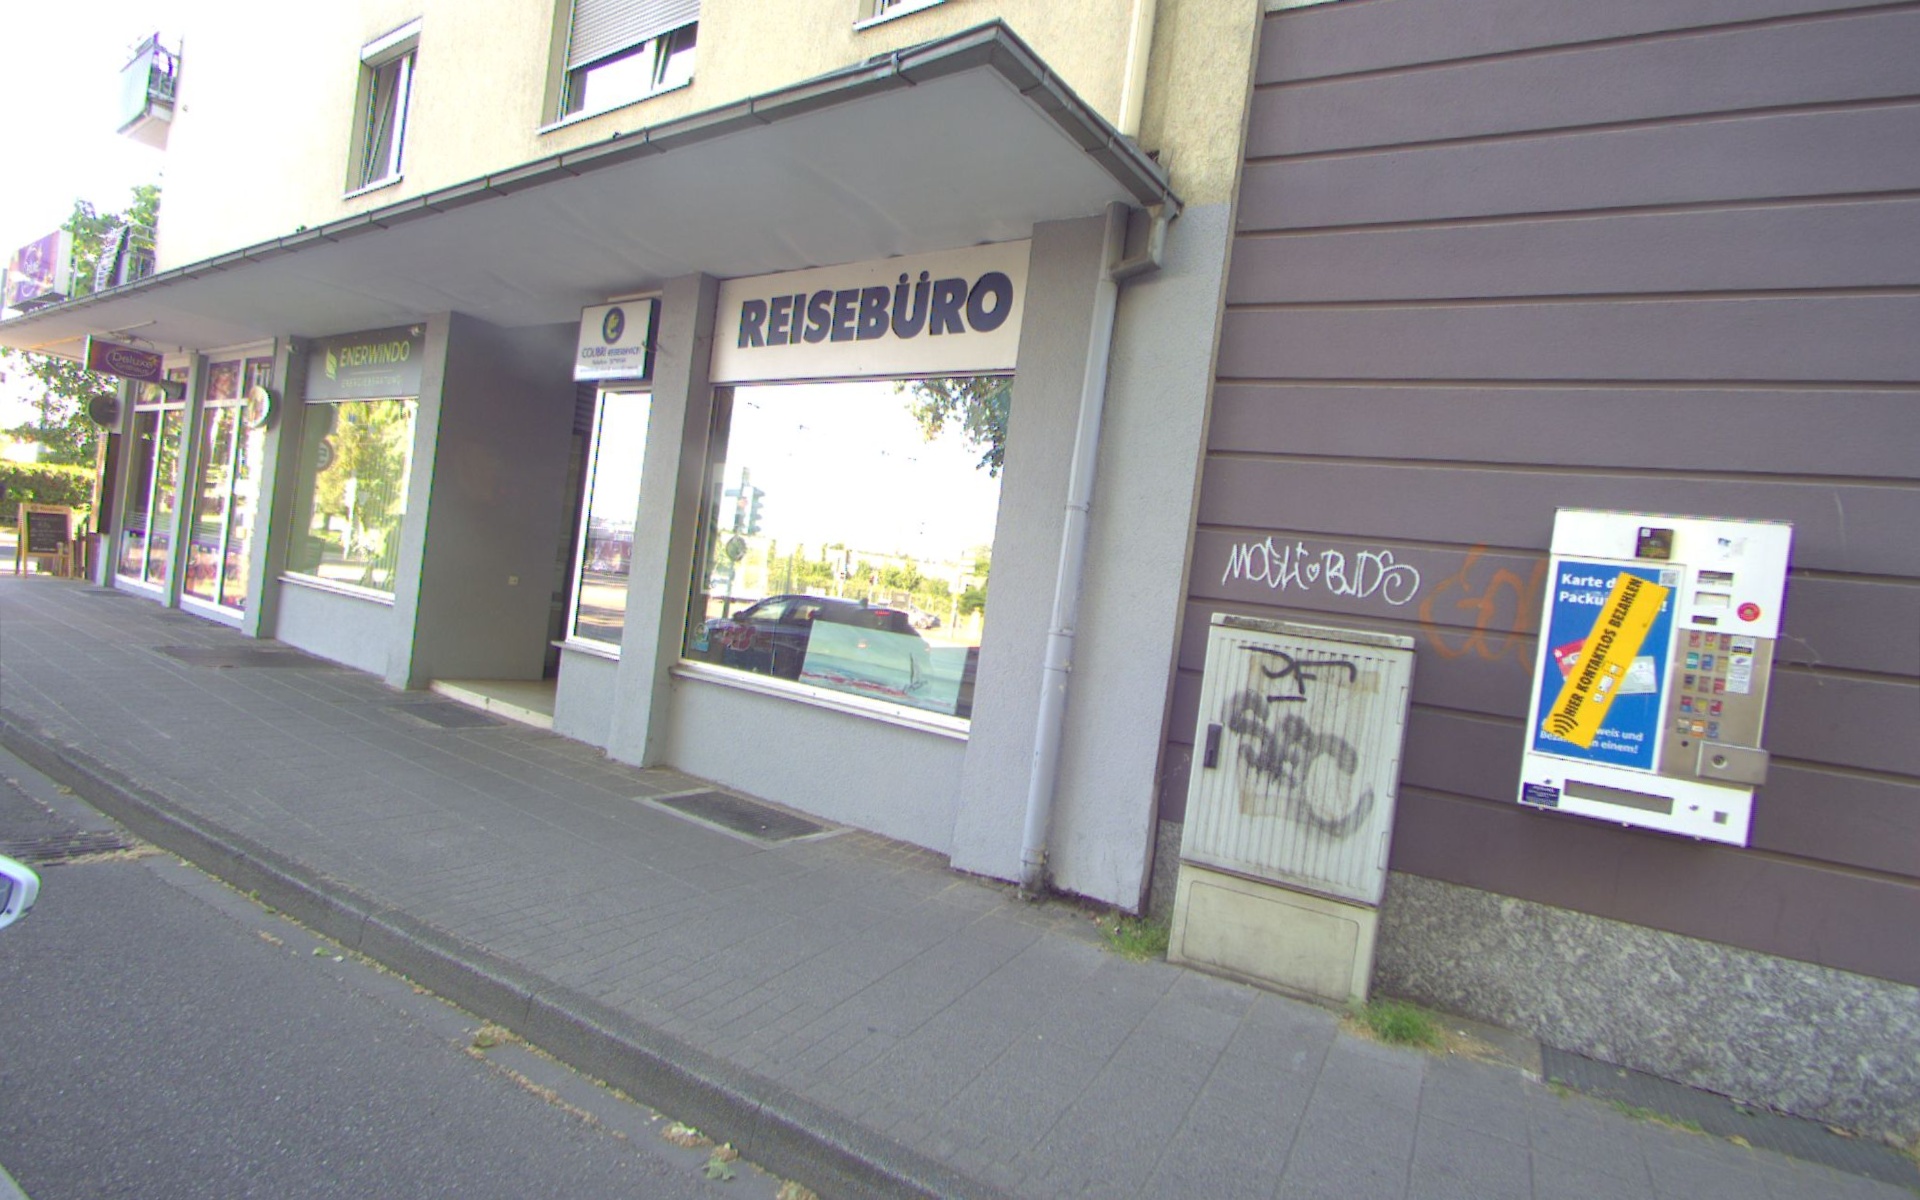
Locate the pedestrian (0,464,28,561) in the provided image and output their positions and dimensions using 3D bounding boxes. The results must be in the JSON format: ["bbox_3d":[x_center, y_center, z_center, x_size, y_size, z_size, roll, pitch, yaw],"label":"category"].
[{"bbox_3d":[-18.940,-1.742,19.645,0.695,1.869,0.698,7,1,-19],"label":"pedestrian"}]

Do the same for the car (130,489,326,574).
[{"bbox_3d":[-21.014,-1.902,29.026,1.781,1.835,4.172,4,-3,40],"label":"car"}]
